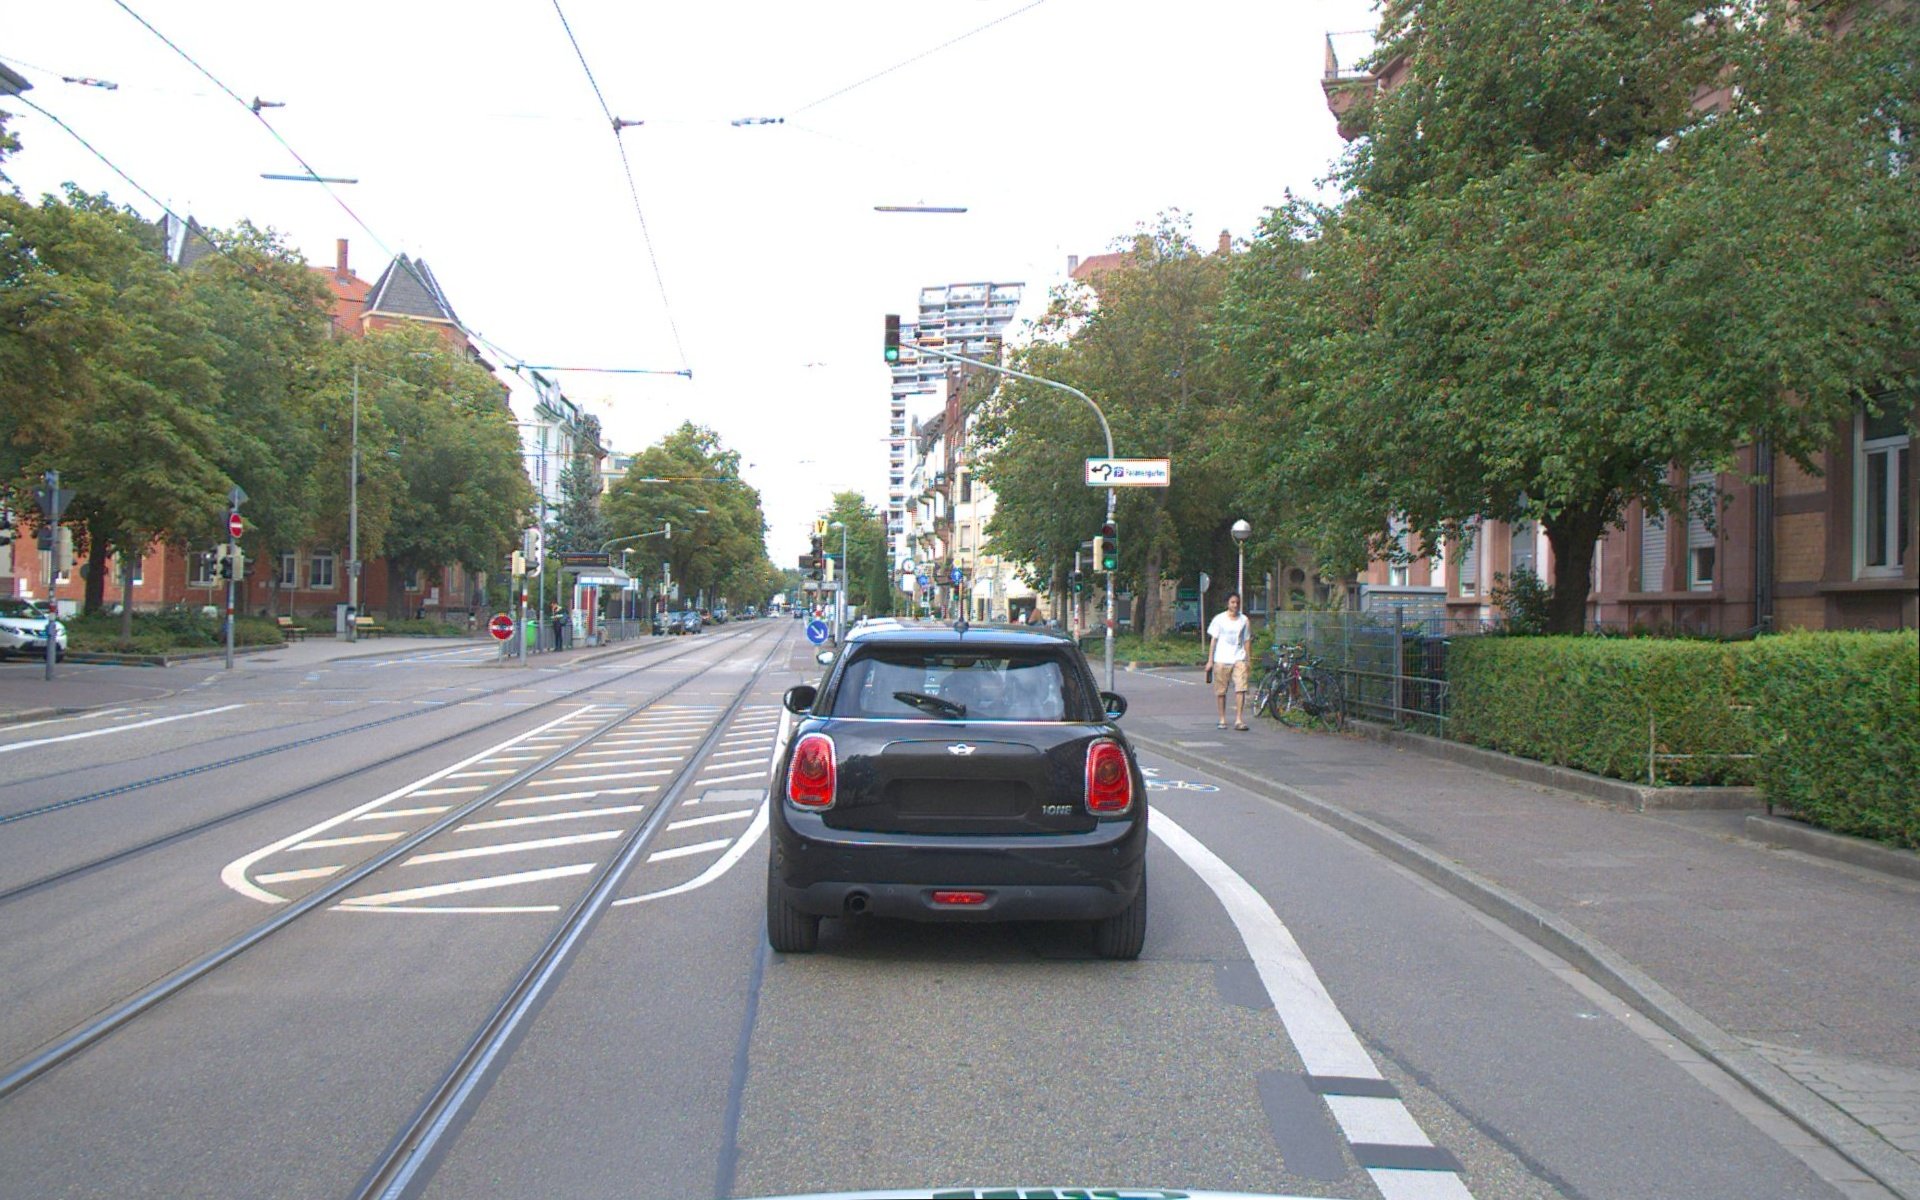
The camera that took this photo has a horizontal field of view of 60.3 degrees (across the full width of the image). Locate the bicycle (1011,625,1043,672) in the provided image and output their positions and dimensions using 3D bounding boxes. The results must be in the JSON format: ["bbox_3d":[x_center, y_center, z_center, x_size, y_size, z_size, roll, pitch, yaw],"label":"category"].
[{"bbox_3d":[1.769,1.275,43.945,0.670,1.191,1.695,1,-1,-3],"label":"bicycle"}]

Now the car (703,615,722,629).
[{"bbox_3d":[-28.904,2.596,193.078,1.954,1.579,3.996,1,-1,-5],"label":"car"}]

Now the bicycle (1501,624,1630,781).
[{"bbox_3d":[5.341,0.870,14.677,0.506,1.304,1.549,1,-1,-3],"label":"bicycle"}]

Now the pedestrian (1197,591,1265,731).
[{"bbox_3d":[3.541,0.781,21.659,0.715,1.785,0.949,1,-1,-1],"label":"pedestrian"}]

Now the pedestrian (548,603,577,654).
[{"bbox_3d":[-12.967,0.927,54.011,0.836,1.649,0.841,1,-1,-11],"label":"pedestrian"}]

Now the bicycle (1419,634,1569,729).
[{"bbox_3d":[5.932,0.900,18.393,1.515,1.026,0.509,1,-1,-7],"label":"bicycle"}]

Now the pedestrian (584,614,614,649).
[{"bbox_3d":[-13.516,1.179,61.959,1.039,1.316,0.983,1,-1,-11],"label":"pedestrian"}]

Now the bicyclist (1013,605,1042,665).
[{"bbox_3d":[1.778,0.922,43.893,0.670,1.591,0.997,1,-1,-3],"label":"bicyclist"}]

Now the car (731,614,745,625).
[{"bbox_3d":[-34.306,3.028,255.704,1.954,1.579,3.996,1,-1,-5],"label":"car"}]

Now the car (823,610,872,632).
[{"bbox_3d":[-12.042,2.245,177.241,2.356,2.312,5.004,0,-1,44],"label":"car"}]

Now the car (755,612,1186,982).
[{"bbox_3d":[-0.009,0.813,8.635,1.716,1.466,3.998,1,-1,-2],"label":"car"}]

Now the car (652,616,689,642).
[{"bbox_3d":[-17.478,1.739,100.052,1.717,1.466,3.997,3,-1,-4],"label":"car"}]

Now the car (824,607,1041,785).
[{"bbox_3d":[-0.311,0.867,16.471,1.888,1.536,3.998,1,-1,-2],"label":"car"}]

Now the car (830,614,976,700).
[{"bbox_3d":[-0.965,1.010,30.769,1.714,1.466,4.483,1,-1,11],"label":"car"}]

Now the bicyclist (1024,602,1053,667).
[{"bbox_3d":[1.929,0.835,40.795,0.583,1.577,1.012,1,-1,-5],"label":"bicyclist"}]

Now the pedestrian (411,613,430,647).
[{"bbox_3d":[-27.279,1.504,83.645,0.817,1.733,0.731,1,-1,-11],"label":"pedestrian"}]

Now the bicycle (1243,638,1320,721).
[{"bbox_3d":[4.585,1.119,23.683,0.658,1.126,1.670,1,-1,-5],"label":"bicycle"}]

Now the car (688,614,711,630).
[{"bbox_3d":[-26.799,2.248,170.234,1.954,1.579,3.996,1,-1,-5],"label":"car"}]

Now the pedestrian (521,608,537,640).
[{"bbox_3d":[-23.465,1.300,90.013,0.680,1.749,0.757,1,-1,-4],"label":"pedestrian"}]

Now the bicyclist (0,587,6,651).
[{"bbox_3d":[-27.462,0.539,46.924,0.604,1.806,0.901,1,-1,-33],"label":"bicyclist"}]

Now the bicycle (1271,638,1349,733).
[{"bbox_3d":[4.410,1.056,20.935,0.499,1.107,1.548,-2,0,-5],"label":"bicycle"}]

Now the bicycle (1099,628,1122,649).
[{"bbox_3d":[7.953,2.039,87.361,0.441,1.074,1.642,0,-1,36],"label":"bicycle"}]

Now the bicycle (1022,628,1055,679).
[{"bbox_3d":[1.931,1.307,40.720,0.587,1.191,1.695,1,-1,-5],"label":"bicycle"}]

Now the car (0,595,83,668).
[{"bbox_3d":[-24.565,0.854,42.593,4.074,1.751,1.834,-2,-3,35],"label":"car"}]

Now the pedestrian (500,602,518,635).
[{"bbox_3d":[-23.982,1.000,87.930,0.817,1.733,0.731,1,-1,-11],"label":"pedestrian"}]
